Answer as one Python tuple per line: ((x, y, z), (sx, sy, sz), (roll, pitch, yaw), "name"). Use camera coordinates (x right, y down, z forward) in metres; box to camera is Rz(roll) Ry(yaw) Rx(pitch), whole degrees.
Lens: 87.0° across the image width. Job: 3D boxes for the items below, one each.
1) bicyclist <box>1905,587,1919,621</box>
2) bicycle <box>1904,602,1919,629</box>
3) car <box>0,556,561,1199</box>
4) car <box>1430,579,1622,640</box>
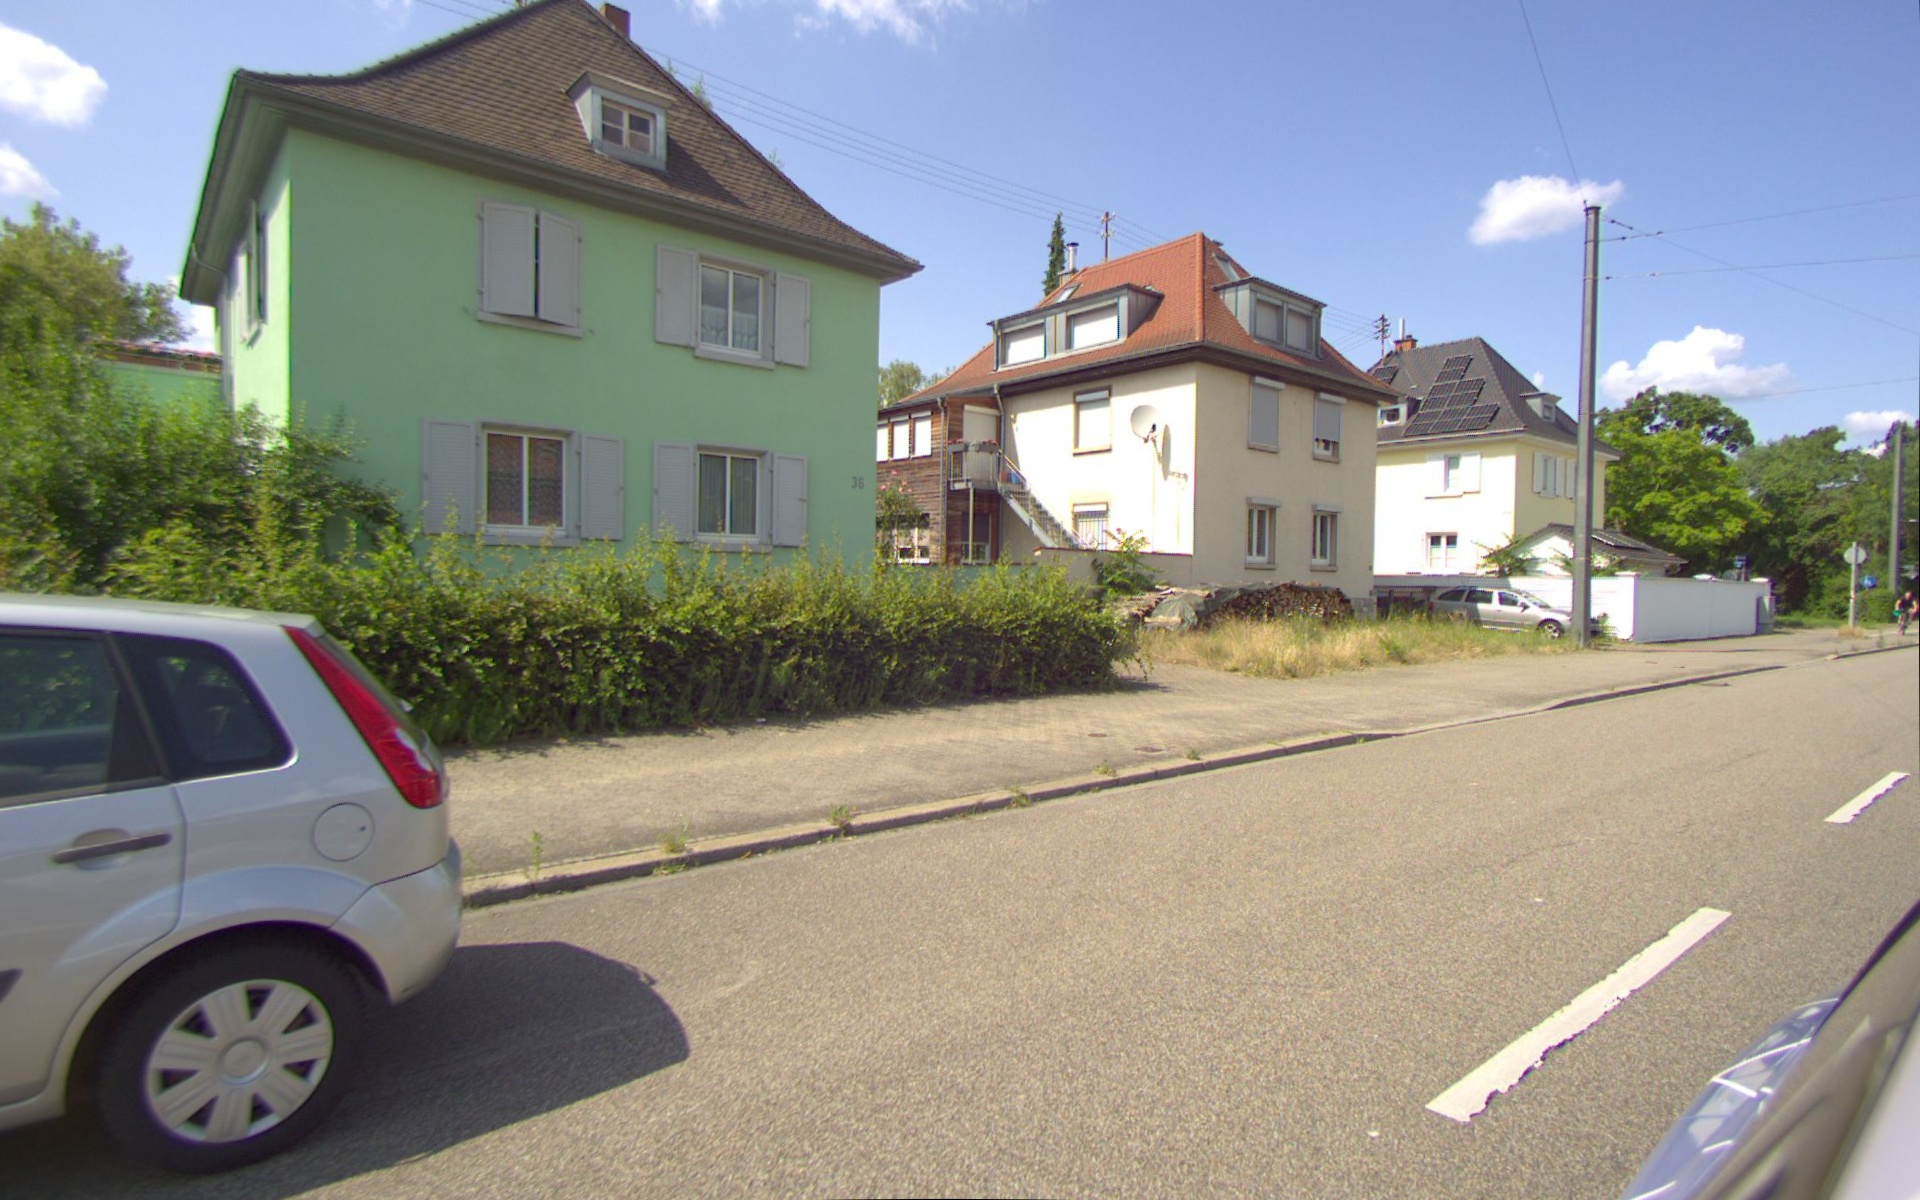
((39.120, 0.175, 41.270), (0.652, 1.370, 0.691), (0, 1, -33), "bicyclist")
((39.165, 0.627, 41.323), (1.494, 1.079, 0.557), (0, 1, -34), "bicycle")
((-3.282, 0.672, 2.392), (4.021, 1.508, 1.740), (-1, 0, -40), "car")
((16.069, 0.216, 28.943), (1.732, 1.479, 4.461), (0, 3, -39), "car")
